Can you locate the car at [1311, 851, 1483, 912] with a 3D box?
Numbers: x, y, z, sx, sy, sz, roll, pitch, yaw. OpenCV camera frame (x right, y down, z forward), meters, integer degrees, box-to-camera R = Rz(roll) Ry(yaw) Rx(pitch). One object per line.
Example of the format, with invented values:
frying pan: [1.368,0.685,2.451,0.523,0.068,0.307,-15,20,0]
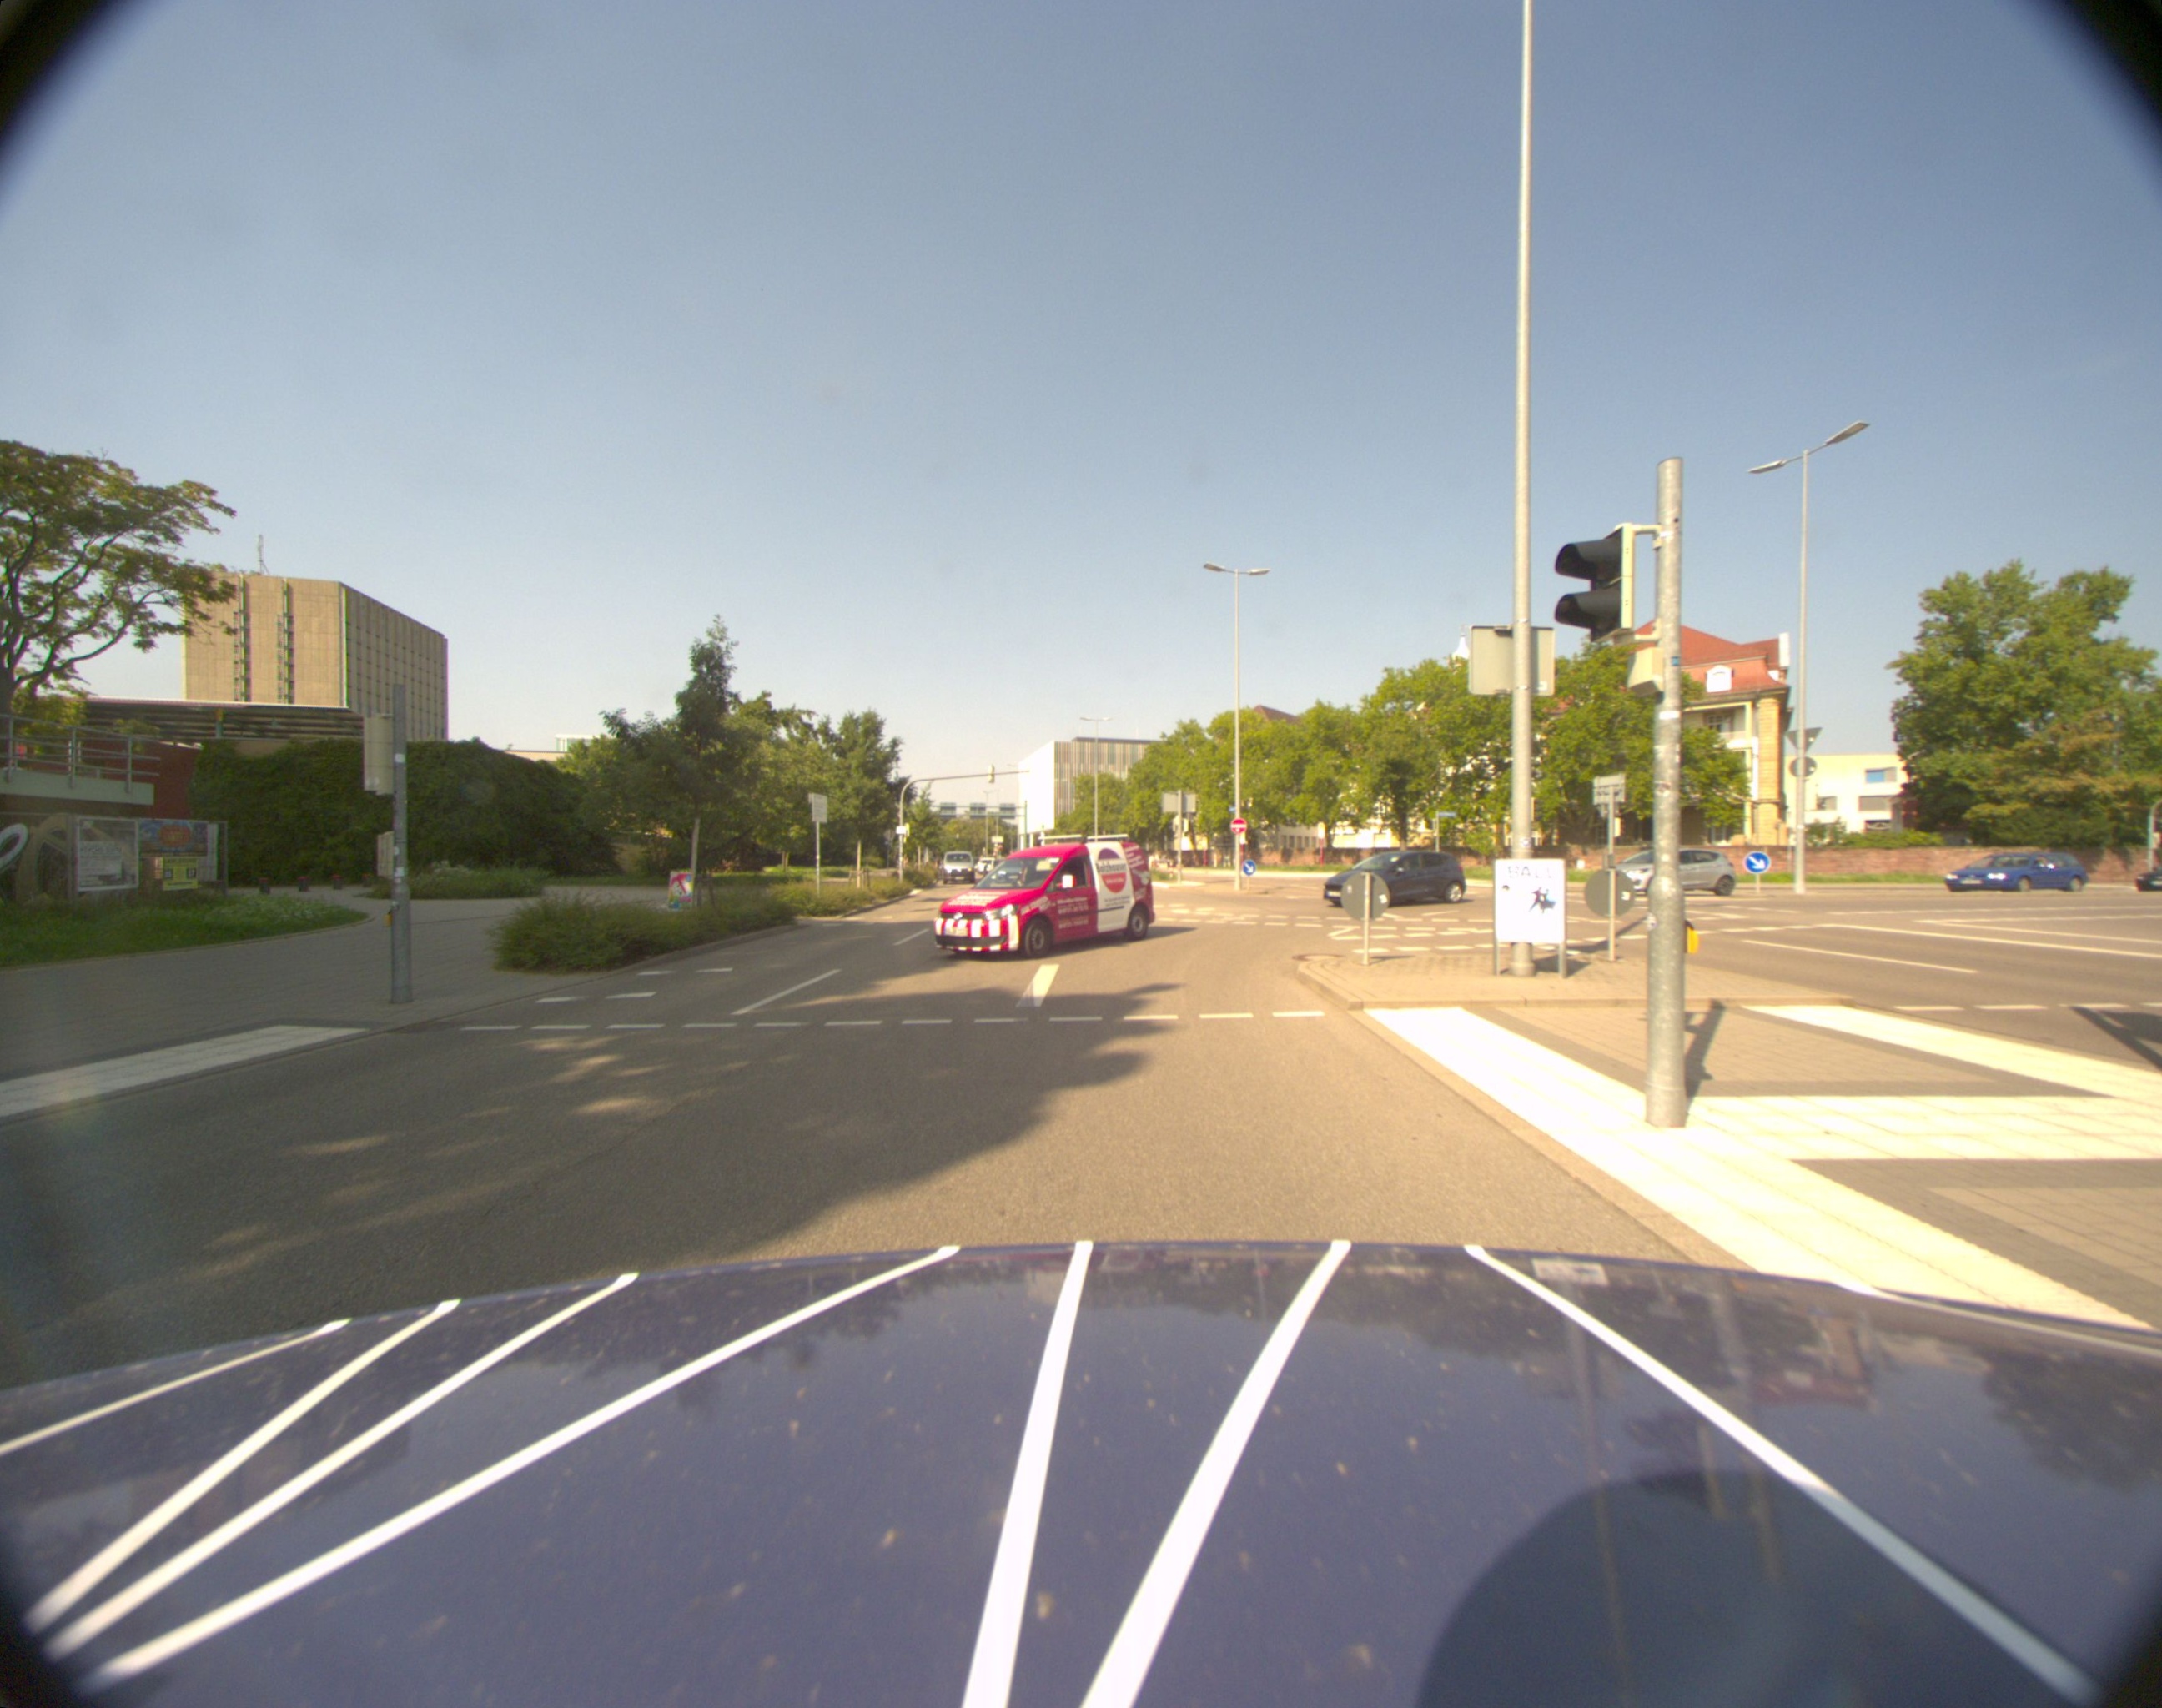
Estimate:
car: [8.530,0.687,20.495,4.326,1.419,1.638,-2,1,-21]

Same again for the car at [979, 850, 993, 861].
car: [-18.666,0.296,149.076,1.921,2.001,3.995,0,-2,-20]

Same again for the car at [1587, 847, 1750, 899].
car: [17.758,0.546,23.039,3.860,1.425,1.720,-1,1,-8]

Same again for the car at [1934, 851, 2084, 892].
car: [32.157,0.567,26.337,4.335,1.321,1.606,0,0,-14]

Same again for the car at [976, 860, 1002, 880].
car: [-7.383,1.260,61.119,2.000,1.497,4.432,0,0,-7]

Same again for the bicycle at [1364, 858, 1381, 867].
bicycle: [28.020,0.831,73.067,0.435,0.830,1.546,0,0,-38]

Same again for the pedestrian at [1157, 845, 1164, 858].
pedestrian: [10.135,-0.350,96.781,0.520,1.641,0.593,1,-2,-30]

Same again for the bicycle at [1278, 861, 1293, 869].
bicycle: [21.891,1.216,81.357,0.435,0.830,1.546,0,0,-35]

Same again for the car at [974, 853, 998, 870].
car: [-9.693,0.739,77.430,1.934,1.650,4.290,0,0,-13]

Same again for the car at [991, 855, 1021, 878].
car: [-5.334,0.856,53.456,2.000,1.497,4.432,0,0,-7]

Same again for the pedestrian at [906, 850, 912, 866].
pedestrian: [-19.845,0.501,87.753,0.624,1.835,0.640,0,1,-11]

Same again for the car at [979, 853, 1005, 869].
car: [-8.394,0.654,71.313,1.934,1.497,4.290,0,0,-13]

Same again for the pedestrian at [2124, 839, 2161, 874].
pedestrian: [61.747,0.178,44.195,0.907,2.001,0.822,0,-2,1]

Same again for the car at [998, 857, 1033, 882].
car: [-4.045,0.897,46.365,1.911,1.392,4.917,0,0,-7]

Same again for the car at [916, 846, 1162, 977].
car: [-0.518,0.796,12.848,1.733,1.808,4.286,-1,1,38]

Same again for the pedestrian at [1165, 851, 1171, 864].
pedestrian: [11.164,0.477,97.392,0.484,1.641,0.593,1,-2,-30]

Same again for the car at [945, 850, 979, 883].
car: [-7.180,0.724,46.057,1.847,1.864,4.970,0,0,-7]

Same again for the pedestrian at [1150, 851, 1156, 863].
pedestrian: [9.398,0.385,98.908,0.536,1.562,0.501,-1,1,-32]
